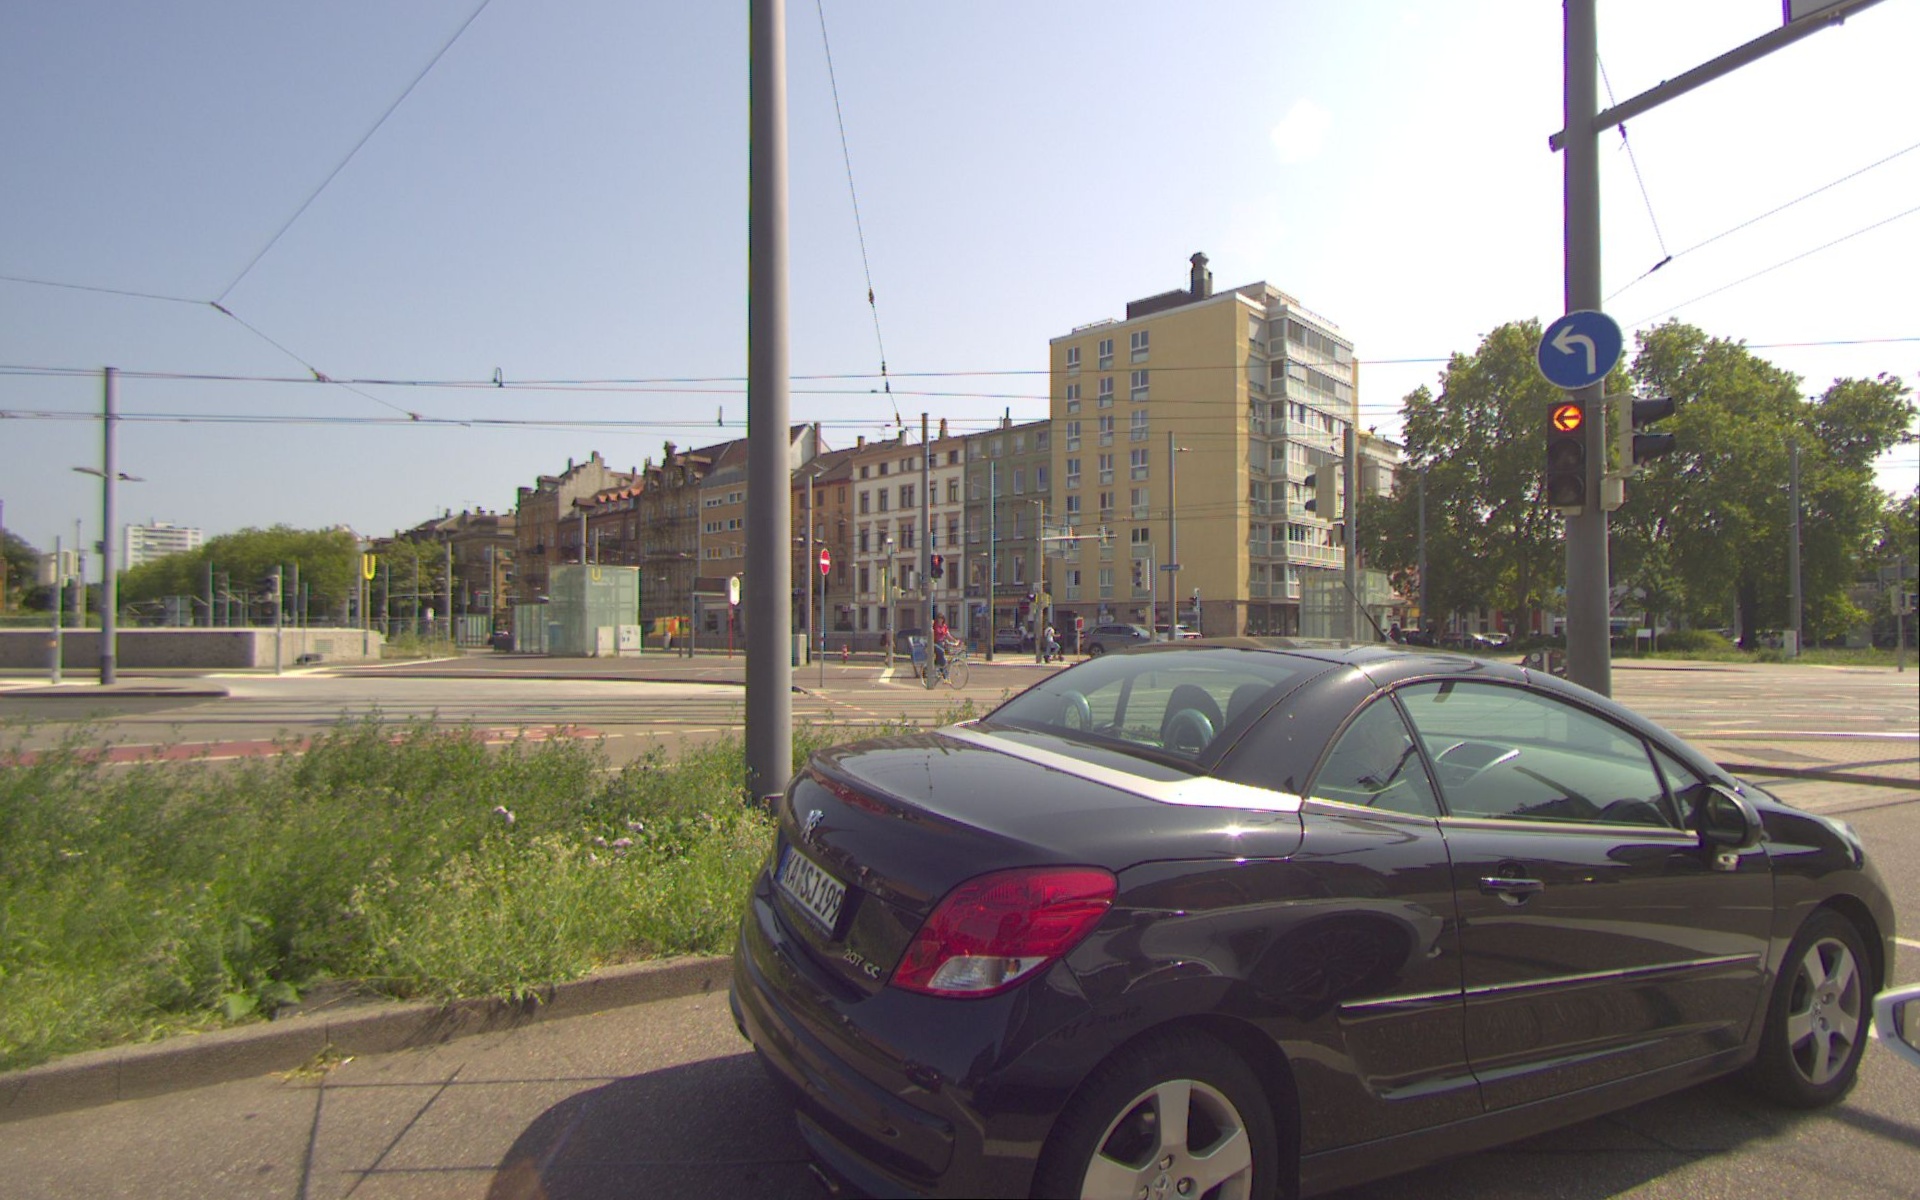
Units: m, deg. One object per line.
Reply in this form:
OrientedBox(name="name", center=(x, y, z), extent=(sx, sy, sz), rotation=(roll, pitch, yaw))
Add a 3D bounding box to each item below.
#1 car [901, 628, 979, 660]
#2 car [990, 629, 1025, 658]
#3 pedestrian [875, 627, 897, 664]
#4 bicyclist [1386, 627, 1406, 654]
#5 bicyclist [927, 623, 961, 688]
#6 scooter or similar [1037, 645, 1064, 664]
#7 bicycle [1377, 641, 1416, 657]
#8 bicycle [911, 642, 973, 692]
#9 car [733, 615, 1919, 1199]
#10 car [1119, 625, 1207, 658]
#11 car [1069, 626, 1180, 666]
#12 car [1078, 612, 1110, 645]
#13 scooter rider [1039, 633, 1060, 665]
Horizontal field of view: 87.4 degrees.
OrientedBox(name="car", center=(-1.079, 2.290, 53.032), extent=(4.151, 1.581, 1.728), rotation=(-1, -2, 44))
OrientedBox(name="car", center=(3.152, 2.832, 66.242), extent=(1.767, 1.843, 4.003), rotation=(0, -2, 11))
OrientedBox(name="pedestrian", center=(-3.189, 1.964, 43.130), extent=(0.843, 1.563, 0.742), rotation=(1, -2, -11))
OrientedBox(name="bicyclist", center=(23.838, 2.202, 54.912), extent=(0.861, 1.495, 0.543), rotation=(-1, -2, 43))
OrientedBox(name="bicyclist", center=(-0.382, 1.307, 24.013), extent=(0.632, 1.529, 0.553), rotation=(1, -2, -36))
OrientedBox(name="scooter or similar", center=(3.974, 2.387, 44.038), extent=(1.132, 0.835, 0.517), rotation=(1, -2, -35))
OrientedBox(name="bicycle", center=(23.838, 2.681, 54.895), extent=(1.836, 0.813, 0.604), rotation=(-1, -2, 43))
OrientedBox(name="bicycle", center=(-0.442, 1.575, 23.951), extent=(0.499, 1.108, 1.918), rotation=(1, -2, -35))
OrientedBox(name="car", center=(1.319, 0.791, 3.299), extent=(3.731, 1.406, 1.760), rotation=(1, 0, -26))
OrientedBox(name="car", center=(10.504, 2.124, 52.183), extent=(4.277, 1.639, 1.744), rotation=(-1, -2, 44))
OrientedBox(name="car", center=(6.970, 1.915, 42.864), extent=(4.477, 1.621, 1.762), rotation=(-1, -2, 41))
OrientedBox(name="car", center=(8.326, 1.759, 62.015), extent=(1.767, 1.951, 4.003), rotation=(0, -2, 11))
OrientedBox(name="scooter rider", center=(3.939, 2.138, 44.138), extent=(0.602, 1.371, 0.682), rotation=(1, -2, -34))
